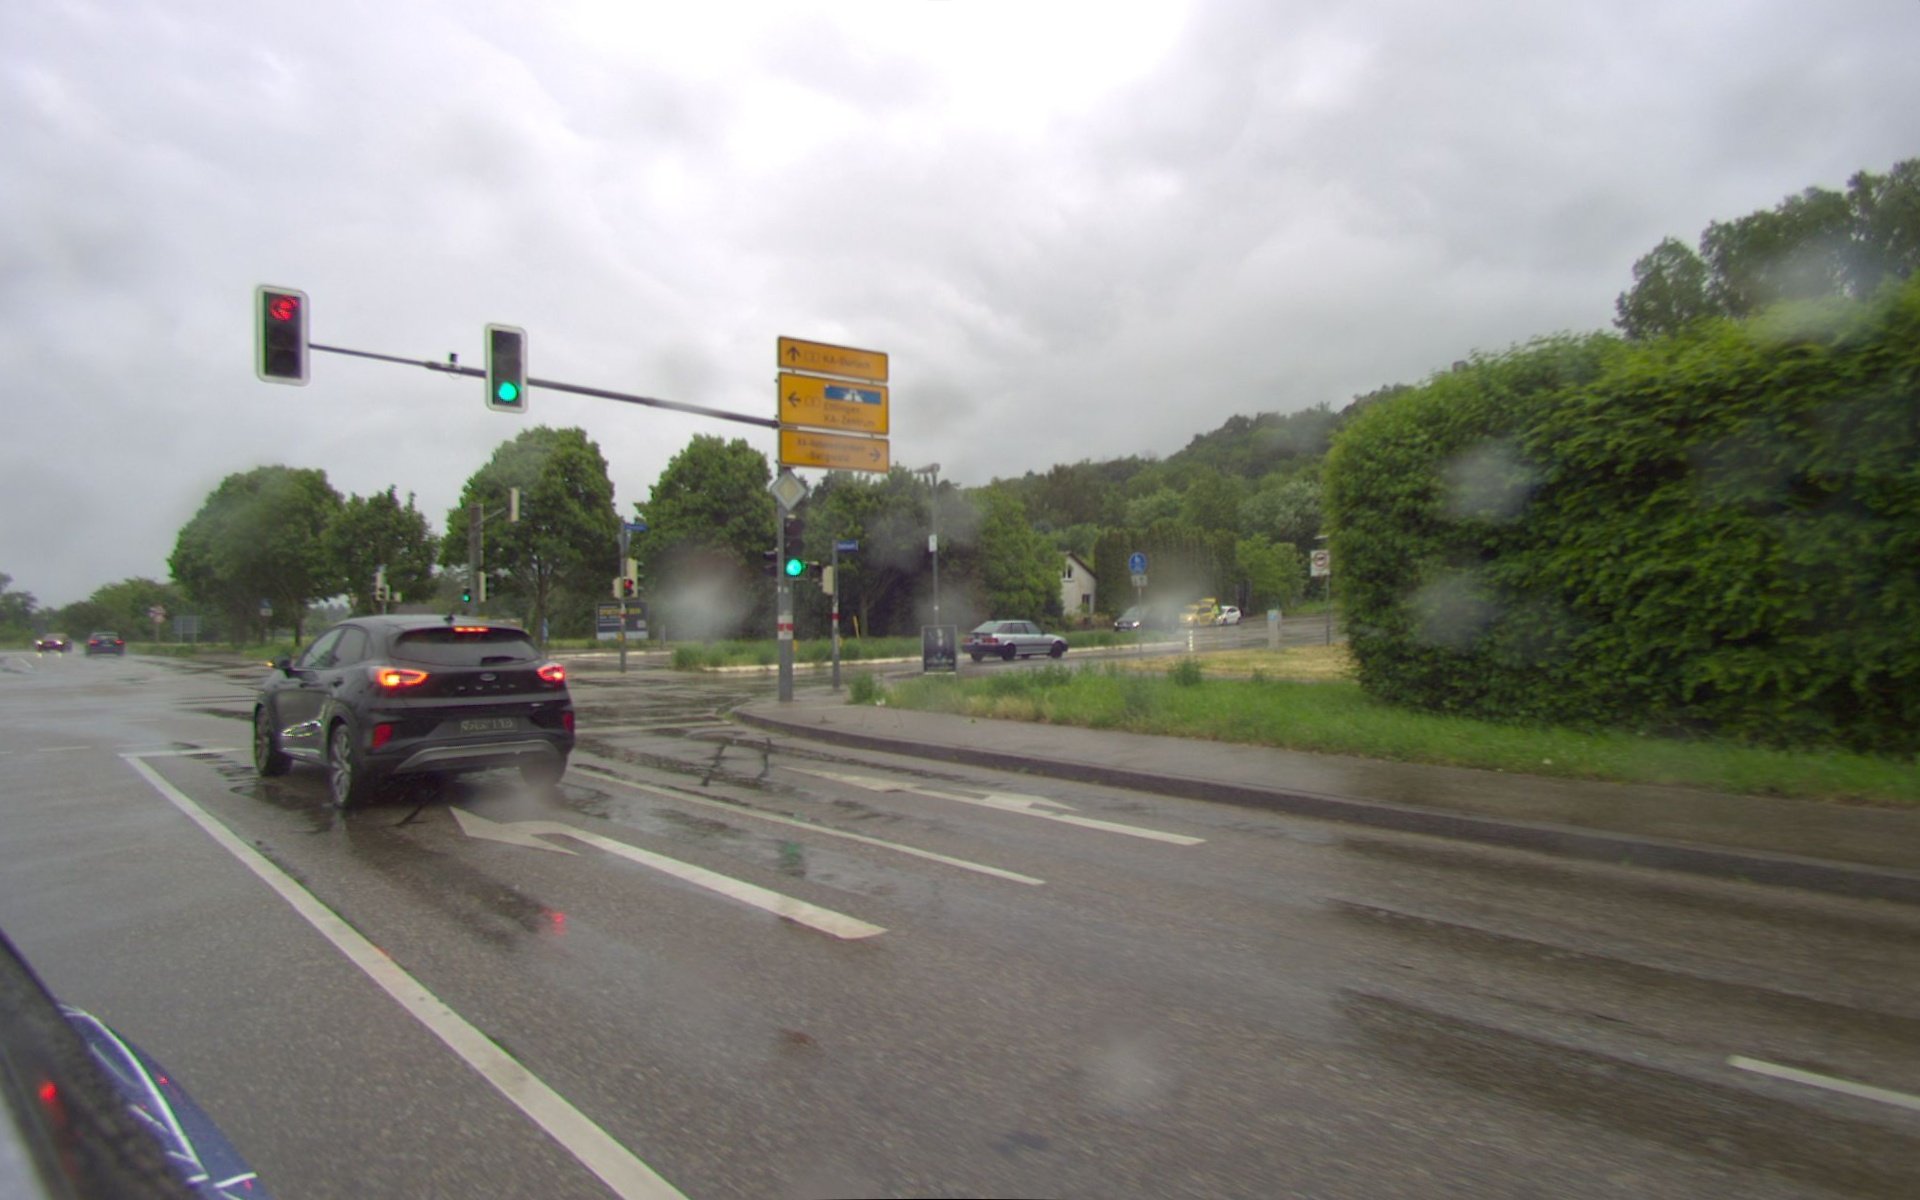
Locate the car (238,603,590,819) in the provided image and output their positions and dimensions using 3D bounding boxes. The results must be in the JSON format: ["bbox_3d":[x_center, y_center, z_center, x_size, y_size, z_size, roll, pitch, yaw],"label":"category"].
[{"bbox_3d":[-5.109,0.830,9.248,3.878,1.549,1.742,-1,-1,44],"label":"car"}]

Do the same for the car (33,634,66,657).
[{"bbox_3d":[-86.627,4.324,96.355,1.890,2.029,4.009,-1,0,-36],"label":"car"}]

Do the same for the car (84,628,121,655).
[{"bbox_3d":[-52.968,2.561,62.493,1.594,1.530,3.659,-1,0,-43],"label":"car"}]

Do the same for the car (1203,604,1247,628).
[{"bbox_3d":[20.698,1.228,79.014,1.817,1.732,4.010,-1,0,40],"label":"car"}]

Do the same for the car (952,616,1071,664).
[{"bbox_3d":[1.825,1.339,35.226,3.940,1.530,2.002,0,-1,-44],"label":"car"}]

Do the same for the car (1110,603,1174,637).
[{"bbox_3d":[11.055,1.195,61.332,1.956,1.892,4.299,-1,0,40],"label":"car"}]

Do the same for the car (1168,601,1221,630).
[{"bbox_3d":[17.287,1.126,74.507,1.999,2.029,4.299,-1,0,40],"label":"car"}]
